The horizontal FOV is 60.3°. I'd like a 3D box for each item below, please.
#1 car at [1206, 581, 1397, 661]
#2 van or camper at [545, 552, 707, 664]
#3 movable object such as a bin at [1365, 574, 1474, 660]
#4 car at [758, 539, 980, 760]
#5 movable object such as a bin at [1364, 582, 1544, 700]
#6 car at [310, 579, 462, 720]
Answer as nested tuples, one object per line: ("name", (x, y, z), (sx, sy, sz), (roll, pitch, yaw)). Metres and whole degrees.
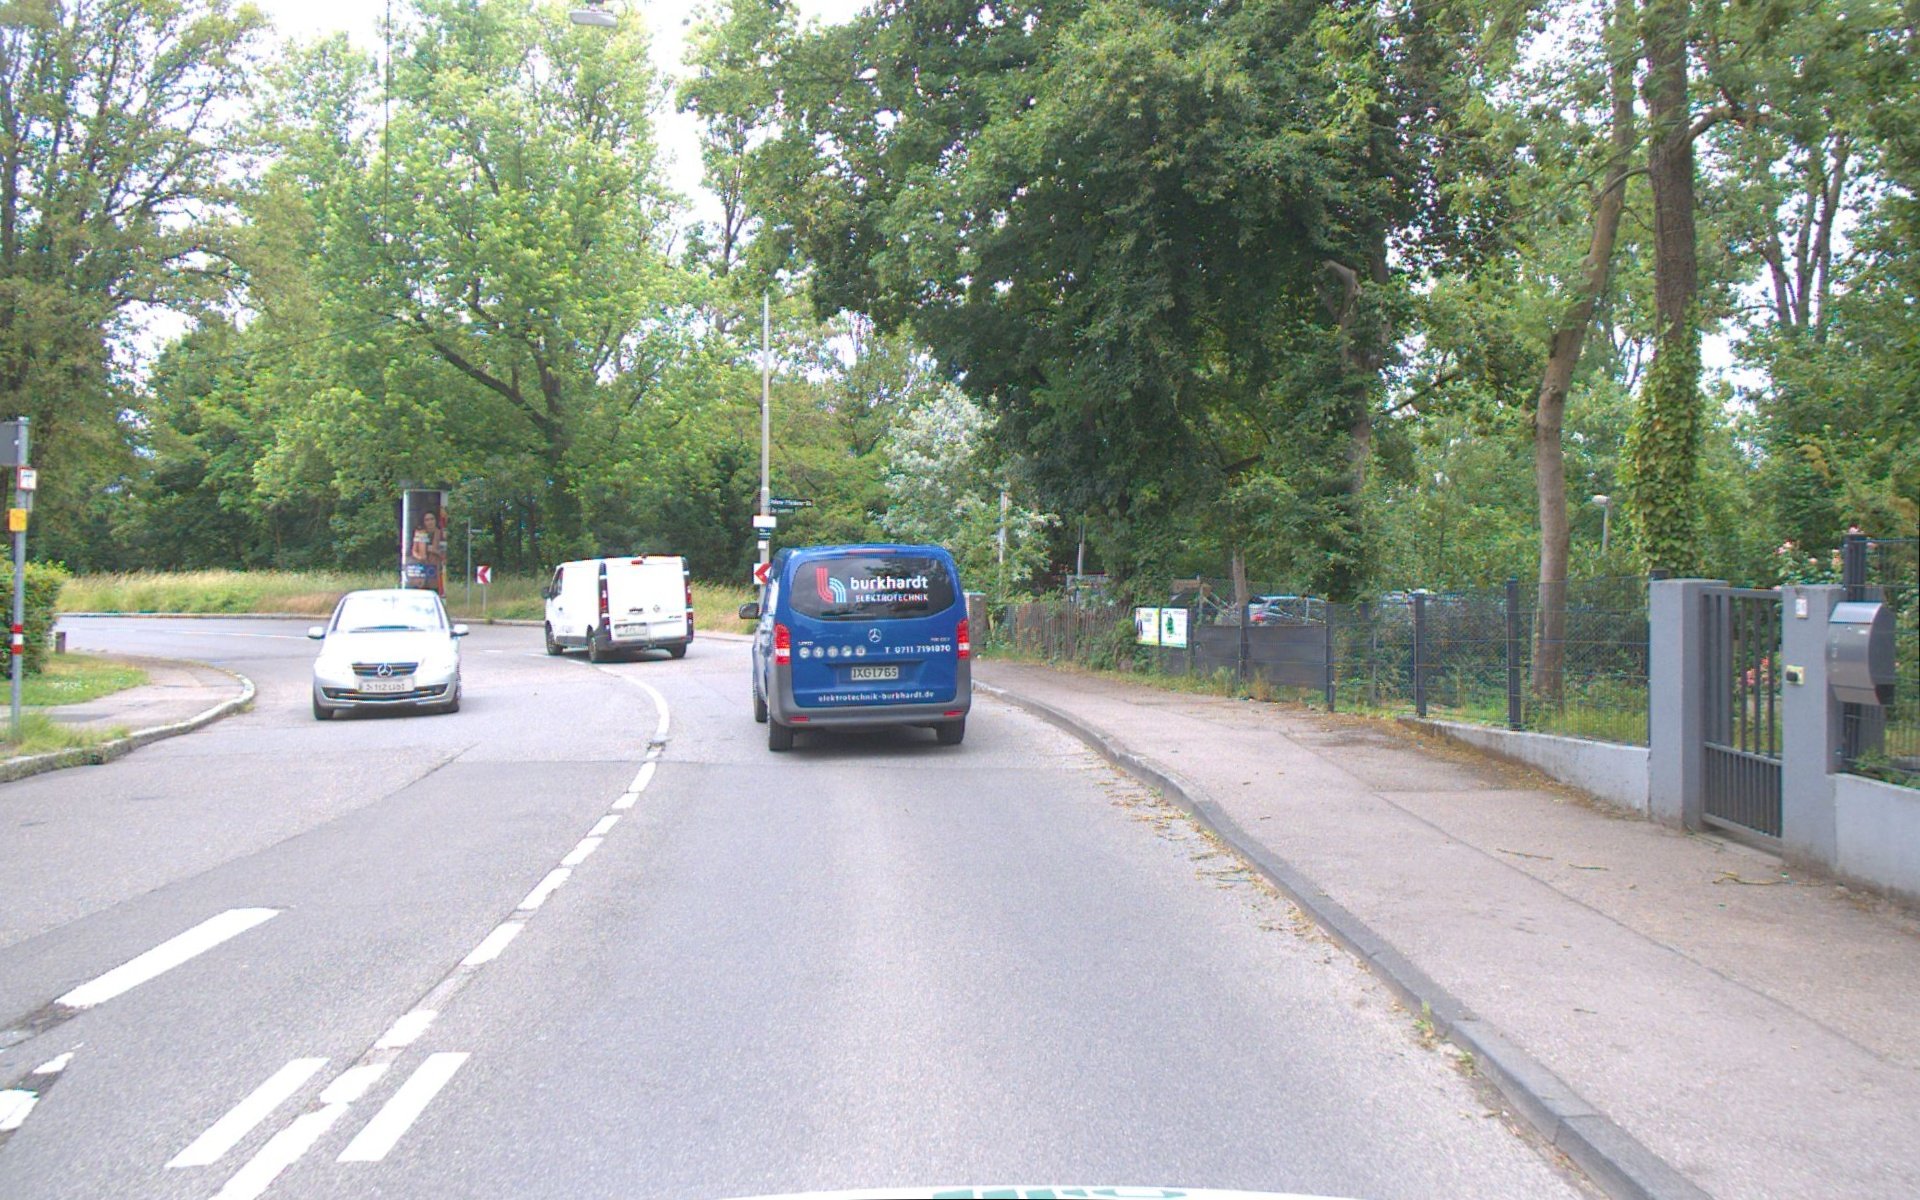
("car", (7.441, 0.467, 36.101), (3.603, 1.422, 1.822), (5, -1, -18))
("van or camper", (-6.767, 0.125, 33.081), (1.995, 1.991, 4.856), (-3, 1, -26))
("movable object such as a bin", (8.764, 0.308, 31.601), (1.397, 1.574, 1.671), (0, 1, -12))
("car", (-1.046, 0.399, 16.575), (1.877, 1.869, 4.287), (-1, 1, -7))
("movable object such as a bin", (7.947, 0.623, 26.782), (2.064, 1.818, 2.204), (0, 1, -9))
("car", (-7.716, 0.579, 22.166), (1.698, 1.633, 3.952), (-3, 1, -20))
